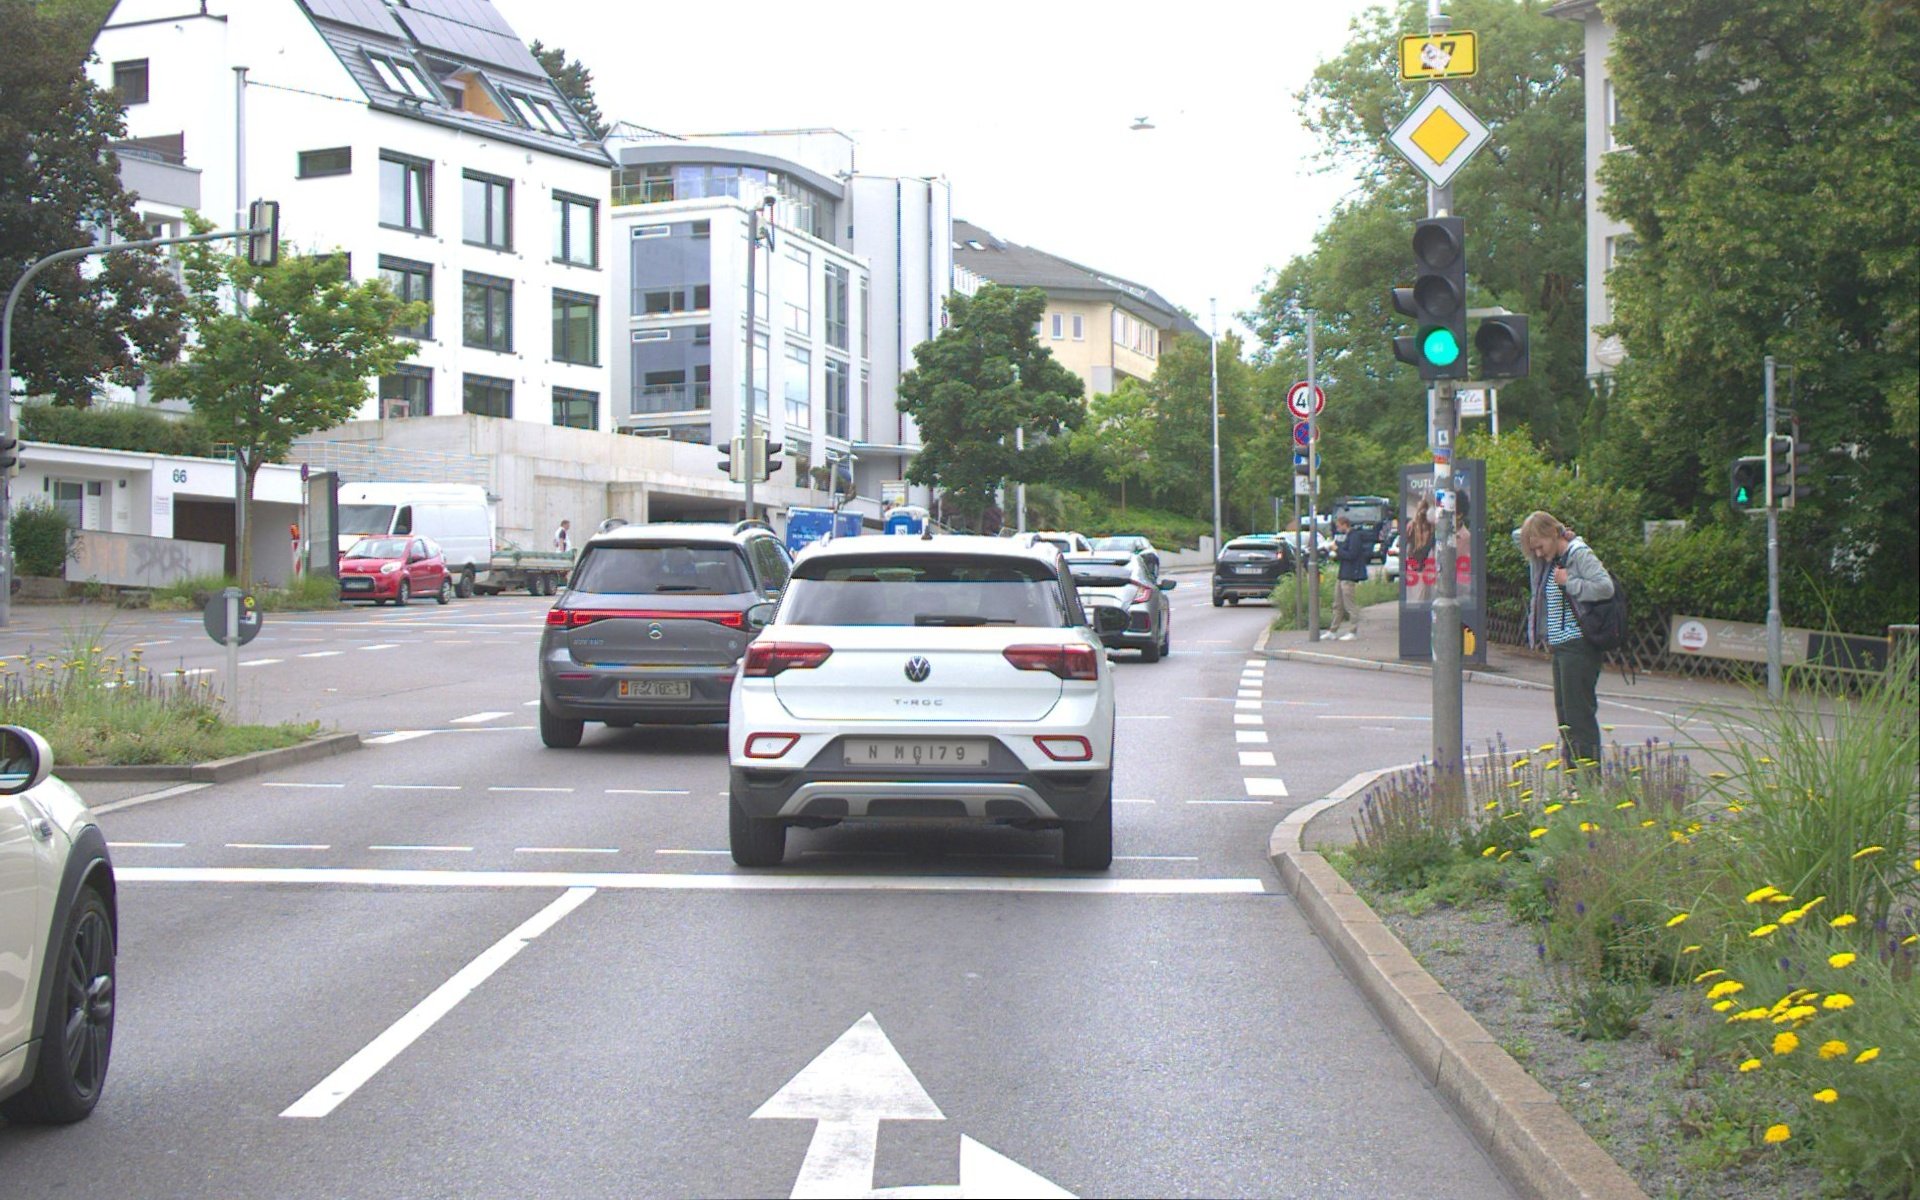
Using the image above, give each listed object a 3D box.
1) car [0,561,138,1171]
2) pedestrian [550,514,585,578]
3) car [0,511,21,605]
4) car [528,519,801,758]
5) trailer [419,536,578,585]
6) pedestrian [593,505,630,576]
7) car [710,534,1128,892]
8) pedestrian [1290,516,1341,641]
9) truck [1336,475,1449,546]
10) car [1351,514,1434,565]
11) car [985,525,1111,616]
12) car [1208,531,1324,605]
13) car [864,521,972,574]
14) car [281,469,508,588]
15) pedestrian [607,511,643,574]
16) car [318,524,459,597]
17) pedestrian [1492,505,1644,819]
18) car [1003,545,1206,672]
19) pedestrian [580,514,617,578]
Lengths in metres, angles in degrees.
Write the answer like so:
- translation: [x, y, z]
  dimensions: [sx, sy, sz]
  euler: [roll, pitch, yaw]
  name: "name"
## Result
- translation: [-3.030, 0.639, 7.447]
  dimensions: [1.628, 1.388, 3.566]
  euler: [0, 1, 0]
  name: "car"
- translation: [-10.266, -1.421, 89.952]
  dimensions: [0.626, 1.634, 0.671]
  euler: [3, 2, 21]
  name: "pedestrian"
- translation: [-17.472, -0.685, 55.723]
  dimensions: [4.119, 1.534, 1.599]
  euler: [-1, 1, -26]
  name: "car"
- translation: [-2.166, 0.214, 26.294]
  dimensions: [1.812, 1.646, 4.637]
  euler: [-1, 1, -2]
  name: "car"
- translation: [-11.198, -0.982, 83.831]
  dimensions: [2.248, 1.108, 4.619]
  euler: [1, 1, 15]
  name: "trailer"
- translation: [-9.260, -1.581, 91.336]
  dimensions: [0.674, 1.834, 0.672]
  euler: [1, 2, -33]
  name: "pedestrian"
- translation: [-0.258, 0.457, 16.858]
  dimensions: [1.811, 1.534, 3.690]
  euler: [-1, 1, -3]
  name: "car"
- translation: [5.257, -0.321, 50.865]
  dimensions: [0.693, 1.827, 0.620]
  euler: [2, 1, 7]
  name: "pedestrian"
- translation: [18.795, -3.857, 148.837]
  dimensions: [2.964, 2.961, 8.970]
  euler: [1, 2, 19]
  name: "truck"
- translation: [12.928, -1.815, 102.504]
  dimensions: [1.859, 1.495, 4.053]
  euler: [0, 1, 16]
  name: "car"
- translation: [1.708, -0.597, 65.489]
  dimensions: [1.858, 1.646, 4.635]
  euler: [0, 1, 8]
  name: "car"
- translation: [6.847, -0.710, 76.589]
  dimensions: [1.874, 1.496, 4.552]
  euler: [4, 1, 13]
  name: "car"
- translation: [-1.145, -1.448, 95.706]
  dimensions: [1.653, 1.388, 4.140]
  euler: [3, 1, 19]
  name: "car"
- translation: [-12.725, -1.641, 78.002]
  dimensions: [2.233, 2.559, 7.417]
  euler: [1, 1, 15]
  name: "car"
- translation: [-9.010, -1.544, 92.411]
  dimensions: [0.674, 1.634, 0.672]
  euler: [1, 2, -33]
  name: "pedestrian"
- translation: [-11.788, -0.846, 71.101]
  dimensions: [1.622, 1.460, 3.925]
  euler: [0, 1, 11]
  name: "car"
- translation: [3.334, 0.331, 18.837]
  dimensions: [0.694, 1.683, 0.619]
  euler: [-1, 0, 21]
  name: "pedestrian"
- translation: [1.983, 0.080, 45.809]
  dimensions: [1.874, 1.496, 4.552]
  euler: [4, 1, 12]
  name: "car"
- translation: [-9.495, -1.414, 90.212]
  dimensions: [0.674, 1.634, 0.672]
  euler: [1, 2, -33]
  name: "pedestrian"
